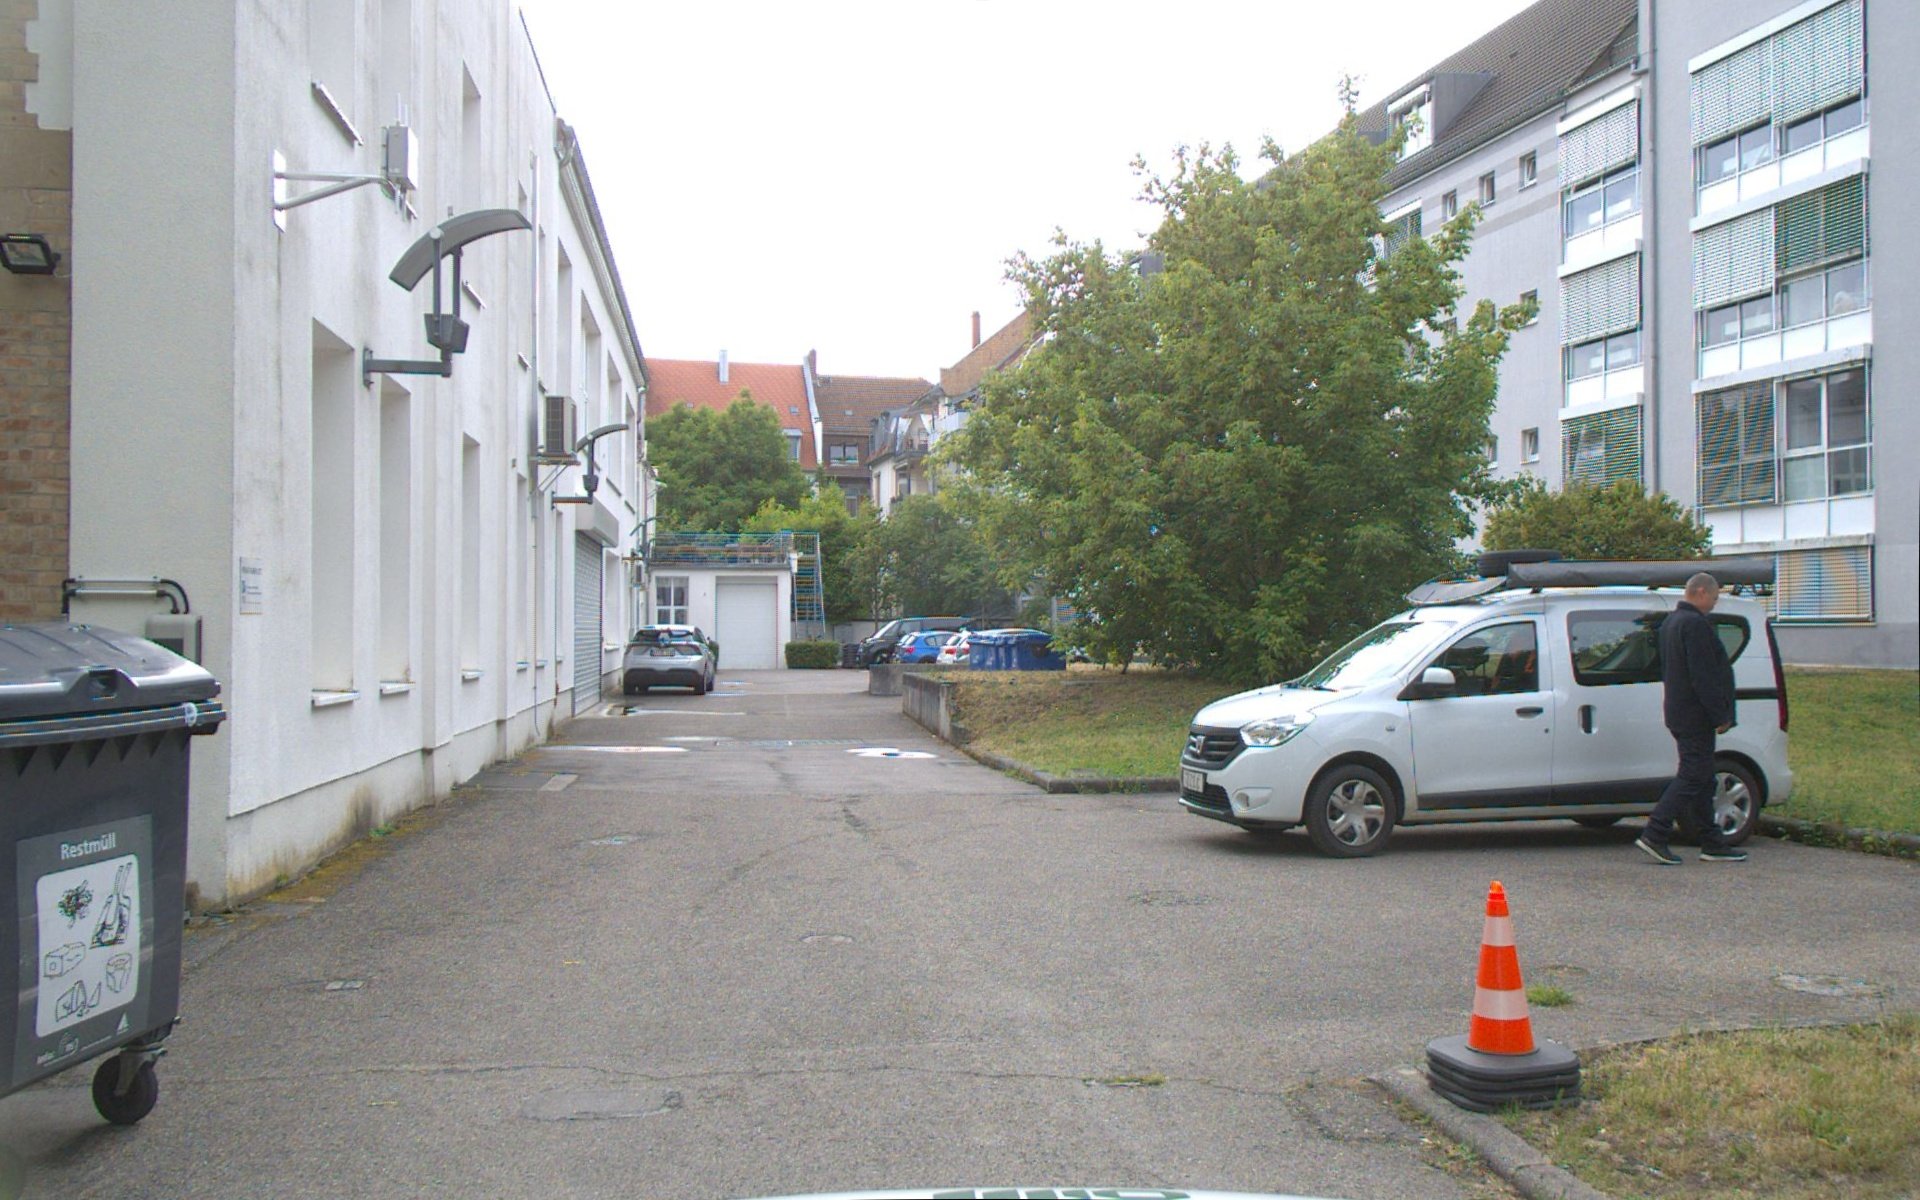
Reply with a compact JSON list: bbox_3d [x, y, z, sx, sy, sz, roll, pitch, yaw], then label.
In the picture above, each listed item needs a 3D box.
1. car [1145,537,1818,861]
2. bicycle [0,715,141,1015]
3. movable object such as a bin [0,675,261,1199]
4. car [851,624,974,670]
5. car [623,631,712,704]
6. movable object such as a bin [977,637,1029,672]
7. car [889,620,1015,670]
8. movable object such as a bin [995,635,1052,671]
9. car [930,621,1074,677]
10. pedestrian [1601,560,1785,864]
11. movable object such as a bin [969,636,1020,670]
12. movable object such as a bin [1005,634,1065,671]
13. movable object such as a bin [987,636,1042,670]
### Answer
[{"bbox_3d":[3.663,0.653,11.895,4.263,2.049,1.848,0,-2,-14],"label":"car"},{"bbox_3d":[-4.130,1.105,7.347,0.387,1.084,1.823,0,-1,-10],"label":"bicycle"},{"bbox_3d":[-2.710,0.872,4.445,1.030,1.287,1.354,0,-1,4],"label":"movable object such as a bin"},{"bbox_3d":[-1.734,1.710,60.401,4.119,1.601,1.989,0,-1,-19],"label":"car"},{"bbox_3d":[-6.567,1.516,37.454,1.813,1.534,3.992,0,-2,-8],"label":"car"},{"bbox_3d":[0.866,1.099,33.437,0.946,0.691,0.809,0,-2,-7],"label":"movable object such as a bin"},{"bbox_3d":[-0.268,1.478,54.909,3.927,1.601,1.576,0,-1,-19],"label":"car"},{"bbox_3d":[1.192,1.001,31.234,0.946,0.648,0.909,0,-2,-7],"label":"movable object such as a bin"},{"bbox_3d":[1.253,1.463,50.033,3.927,1.601,1.989,0,-1,-19],"label":"car"},{"bbox_3d":[4.644,0.694,10.509,0.741,1.840,0.696,-1,-3,-13],"label":"pedestrian"},{"bbox_3d":[0.705,1.098,34.290,0.946,0.691,0.869,0,-2,-7],"label":"movable object such as a bin"},{"bbox_3d":[1.341,0.955,29.899,0.946,0.648,0.909,0,-2,-7],"label":"movable object such as a bin"},{"bbox_3d":[1.066,1.041,32.407,0.946,0.648,0.909,0,-2,-7],"label":"movable object such as a bin"}]
